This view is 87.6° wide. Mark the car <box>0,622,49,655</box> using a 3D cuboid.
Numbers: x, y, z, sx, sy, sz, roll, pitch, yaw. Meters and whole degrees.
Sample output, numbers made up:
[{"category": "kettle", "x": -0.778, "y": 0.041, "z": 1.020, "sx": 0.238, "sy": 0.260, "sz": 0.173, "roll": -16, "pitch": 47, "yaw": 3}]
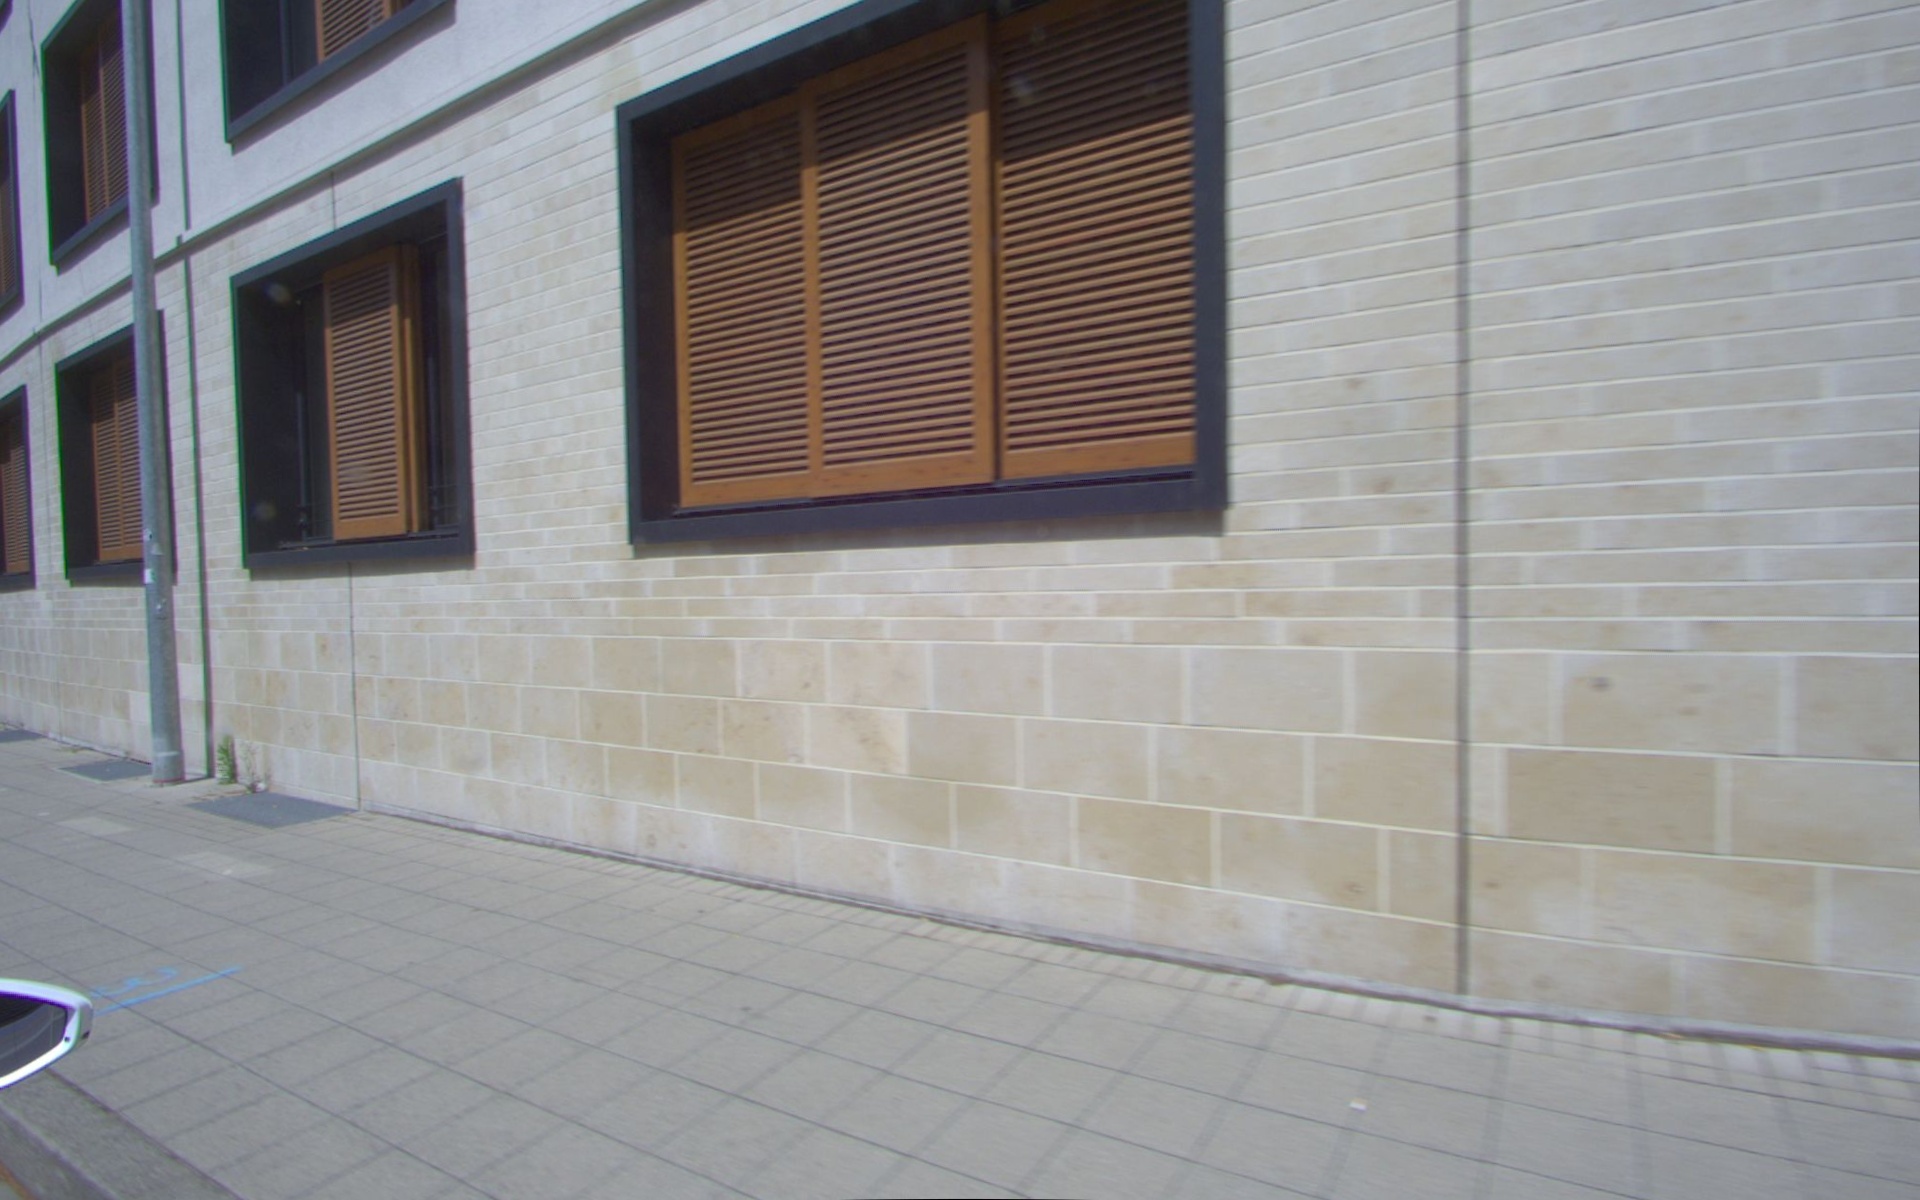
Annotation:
[{"category": "car", "x": -46.851, "y": 1.877, "z": 48.352, "sx": 1.709, "sy": 1.507, "sz": 4.408, "roll": 0, "pitch": 0, "yaw": -1}]
